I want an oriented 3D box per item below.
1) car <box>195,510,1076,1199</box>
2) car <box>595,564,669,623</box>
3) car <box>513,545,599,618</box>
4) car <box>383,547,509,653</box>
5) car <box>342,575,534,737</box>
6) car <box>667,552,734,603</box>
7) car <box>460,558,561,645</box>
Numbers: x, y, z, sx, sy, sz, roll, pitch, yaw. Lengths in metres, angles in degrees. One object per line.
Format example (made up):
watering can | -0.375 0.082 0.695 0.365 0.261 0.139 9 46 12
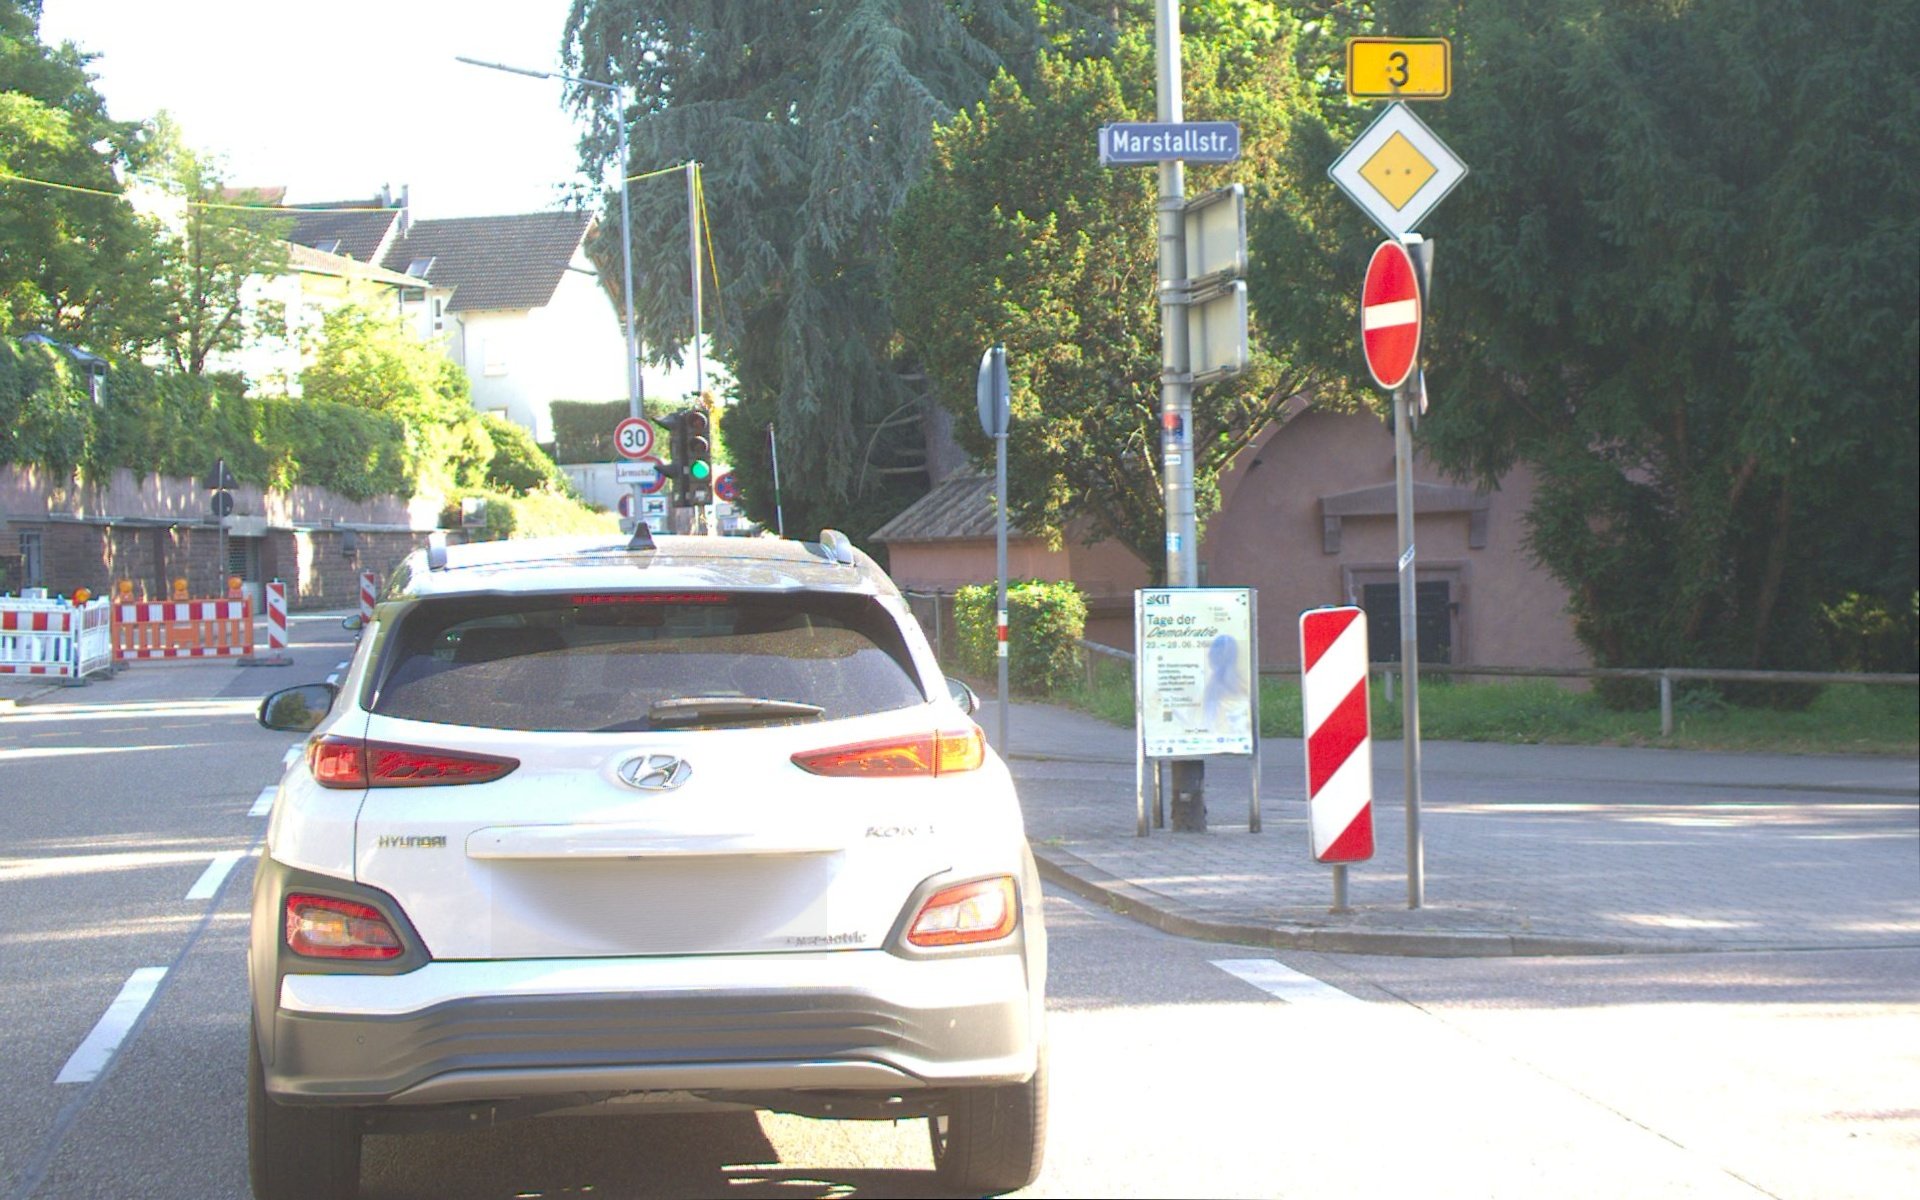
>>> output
car | -0.856 0.576 9.176 1.820 1.568 4.001 1 1 -5
car | -9.548 -0.211 100.423 1.831 1.656 4.000 0 1 -1
car | -9.831 -0.463 83.828 1.831 1.735 4.001 0 1 -3
car | -7.855 -0.026 52.459 1.805 1.532 4.001 1 1 -9
car | -5.106 0.496 33.408 1.707 1.429 4.366 1 1 -10
car | -8.615 -0.753 114.409 1.831 1.656 4.000 0 1 1
car | -8.996 0.002 68.983 1.831 1.656 4.001 1 1 -5
